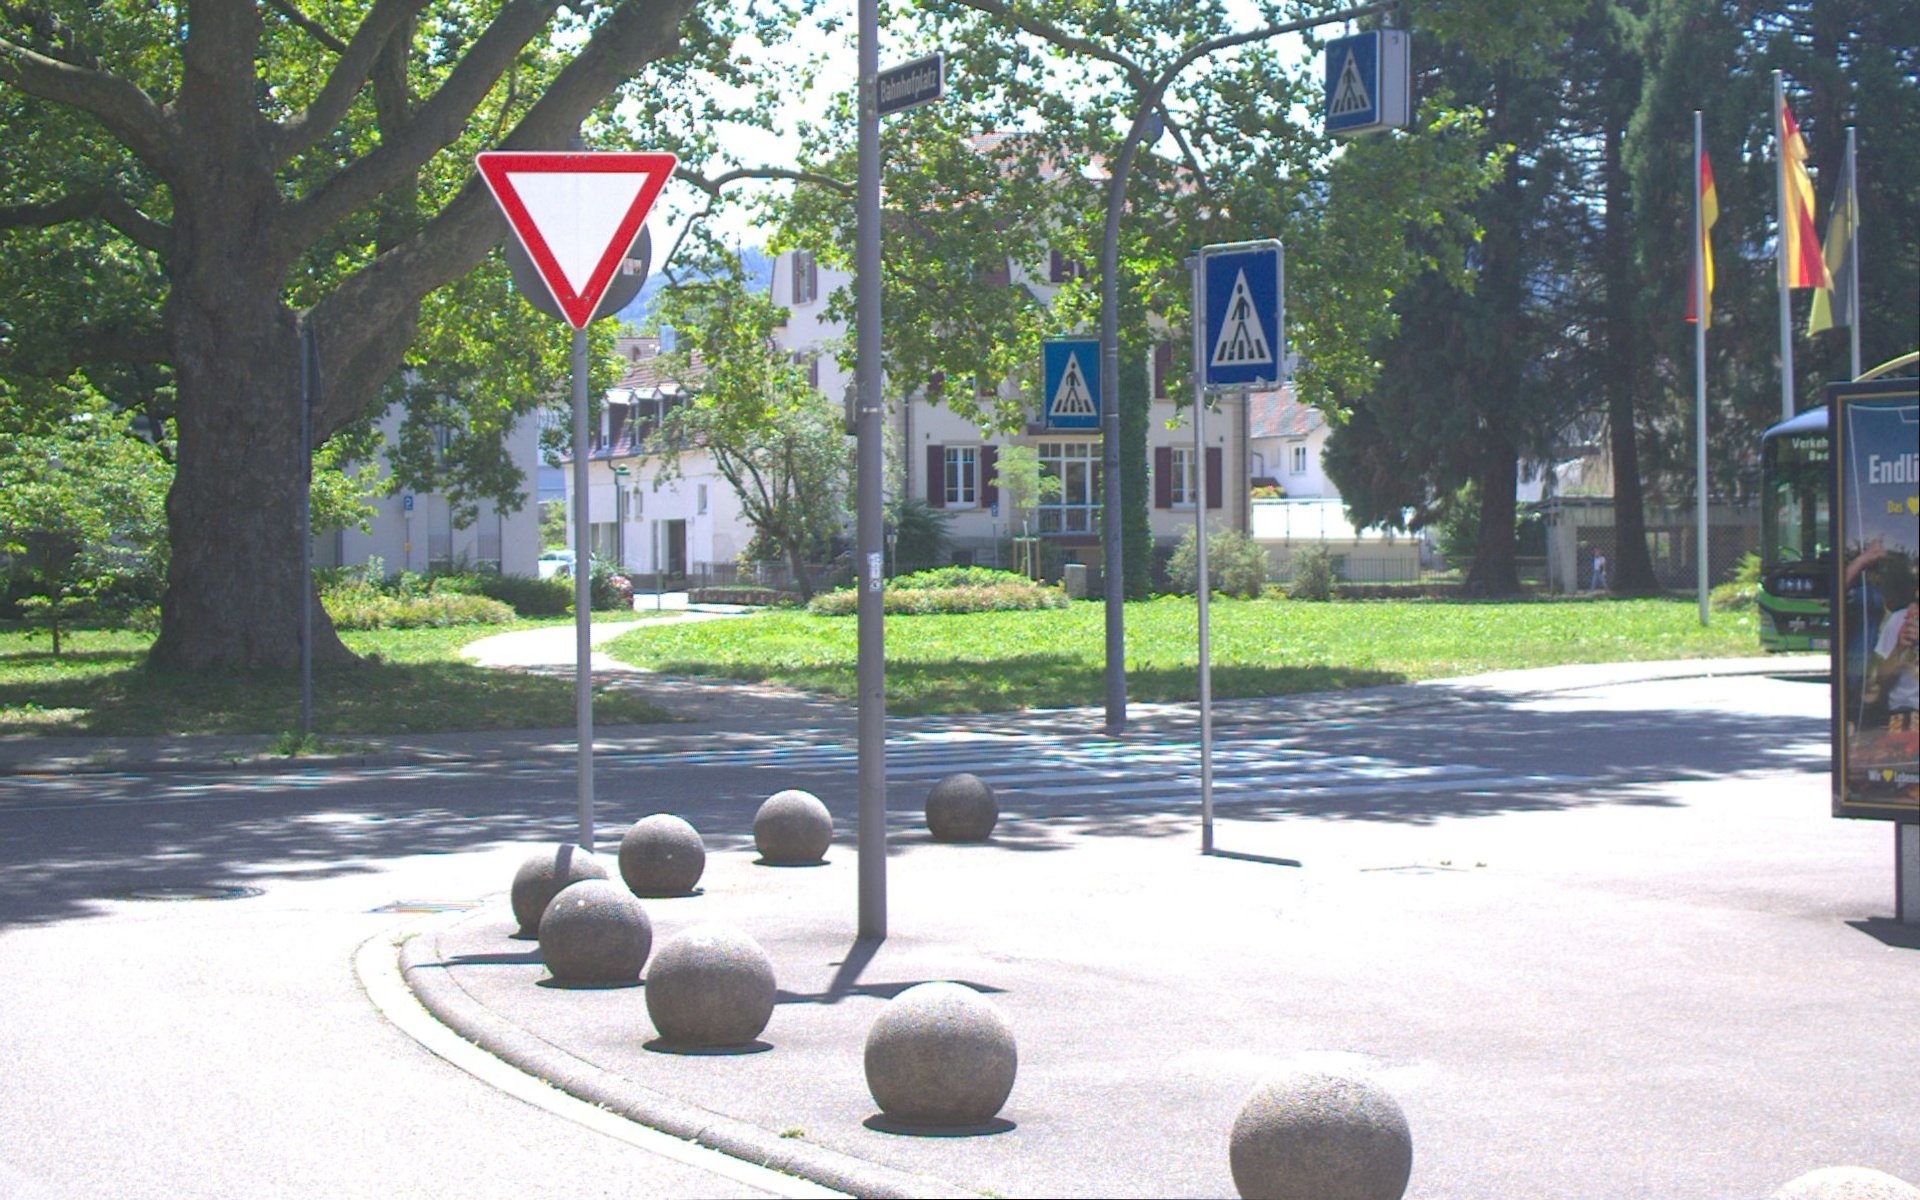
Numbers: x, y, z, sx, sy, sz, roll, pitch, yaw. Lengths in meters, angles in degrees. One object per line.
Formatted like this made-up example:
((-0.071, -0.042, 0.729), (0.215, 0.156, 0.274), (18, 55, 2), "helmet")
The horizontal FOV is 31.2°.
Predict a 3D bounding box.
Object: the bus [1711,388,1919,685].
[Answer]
((14.631, -0.850, 42.594), (12.386, 3.271, 2.817), (-2, 1, -36), "bus")
